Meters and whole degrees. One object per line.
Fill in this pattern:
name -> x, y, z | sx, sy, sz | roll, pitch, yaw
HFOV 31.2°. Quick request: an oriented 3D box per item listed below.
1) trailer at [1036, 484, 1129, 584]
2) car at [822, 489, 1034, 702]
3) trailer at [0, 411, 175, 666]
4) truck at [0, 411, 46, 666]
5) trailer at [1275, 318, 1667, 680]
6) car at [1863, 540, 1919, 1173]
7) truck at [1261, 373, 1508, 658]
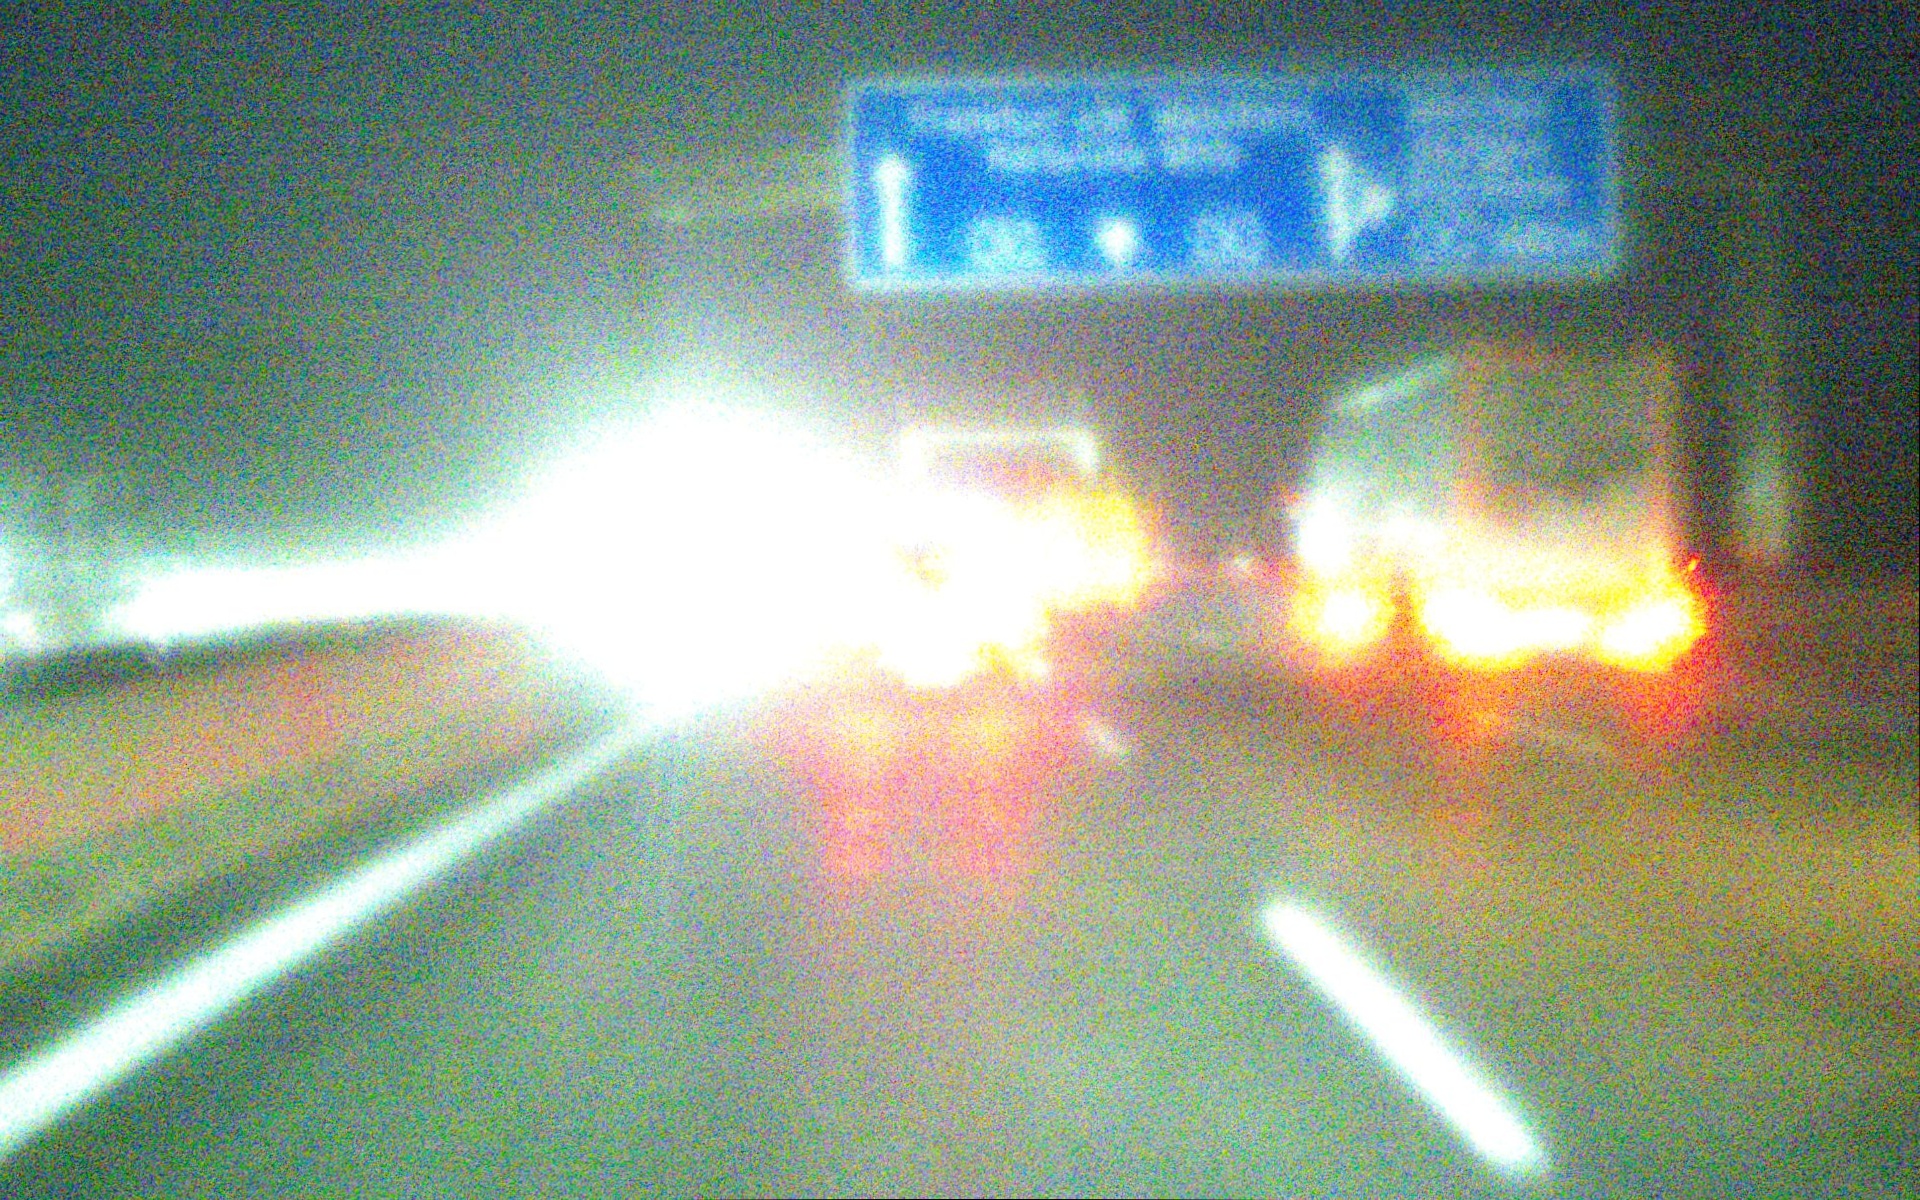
trailer -> 5.408, -2.855, 154.201 | 3.041, 4.095, 13.829 | -2, 0, -2
car -> -0.345, -0.031, 34.857 | 1.993, 2.007, 4.000 | 1, 0, -1
trailer -> -17.588, -1.167, 62.864 | 2.973, 4.254, 14.863 | 4, 1, -1
truck -> -17.493, -1.095, 56.615 | 2.973, 4.254, 6.505 | 4, 1, -1
trailer -> 6.582, -1.249, 47.025 | 2.903, 4.094, 14.488 | -2, 1, -1
car -> 3.278, 0.639, 6.762 | 1.740, 1.570, 4.494 | 0, 0, -1
truck -> 6.500, -1.279, 53.474 | 2.903, 4.094, 6.031 | -2, 1, -1
